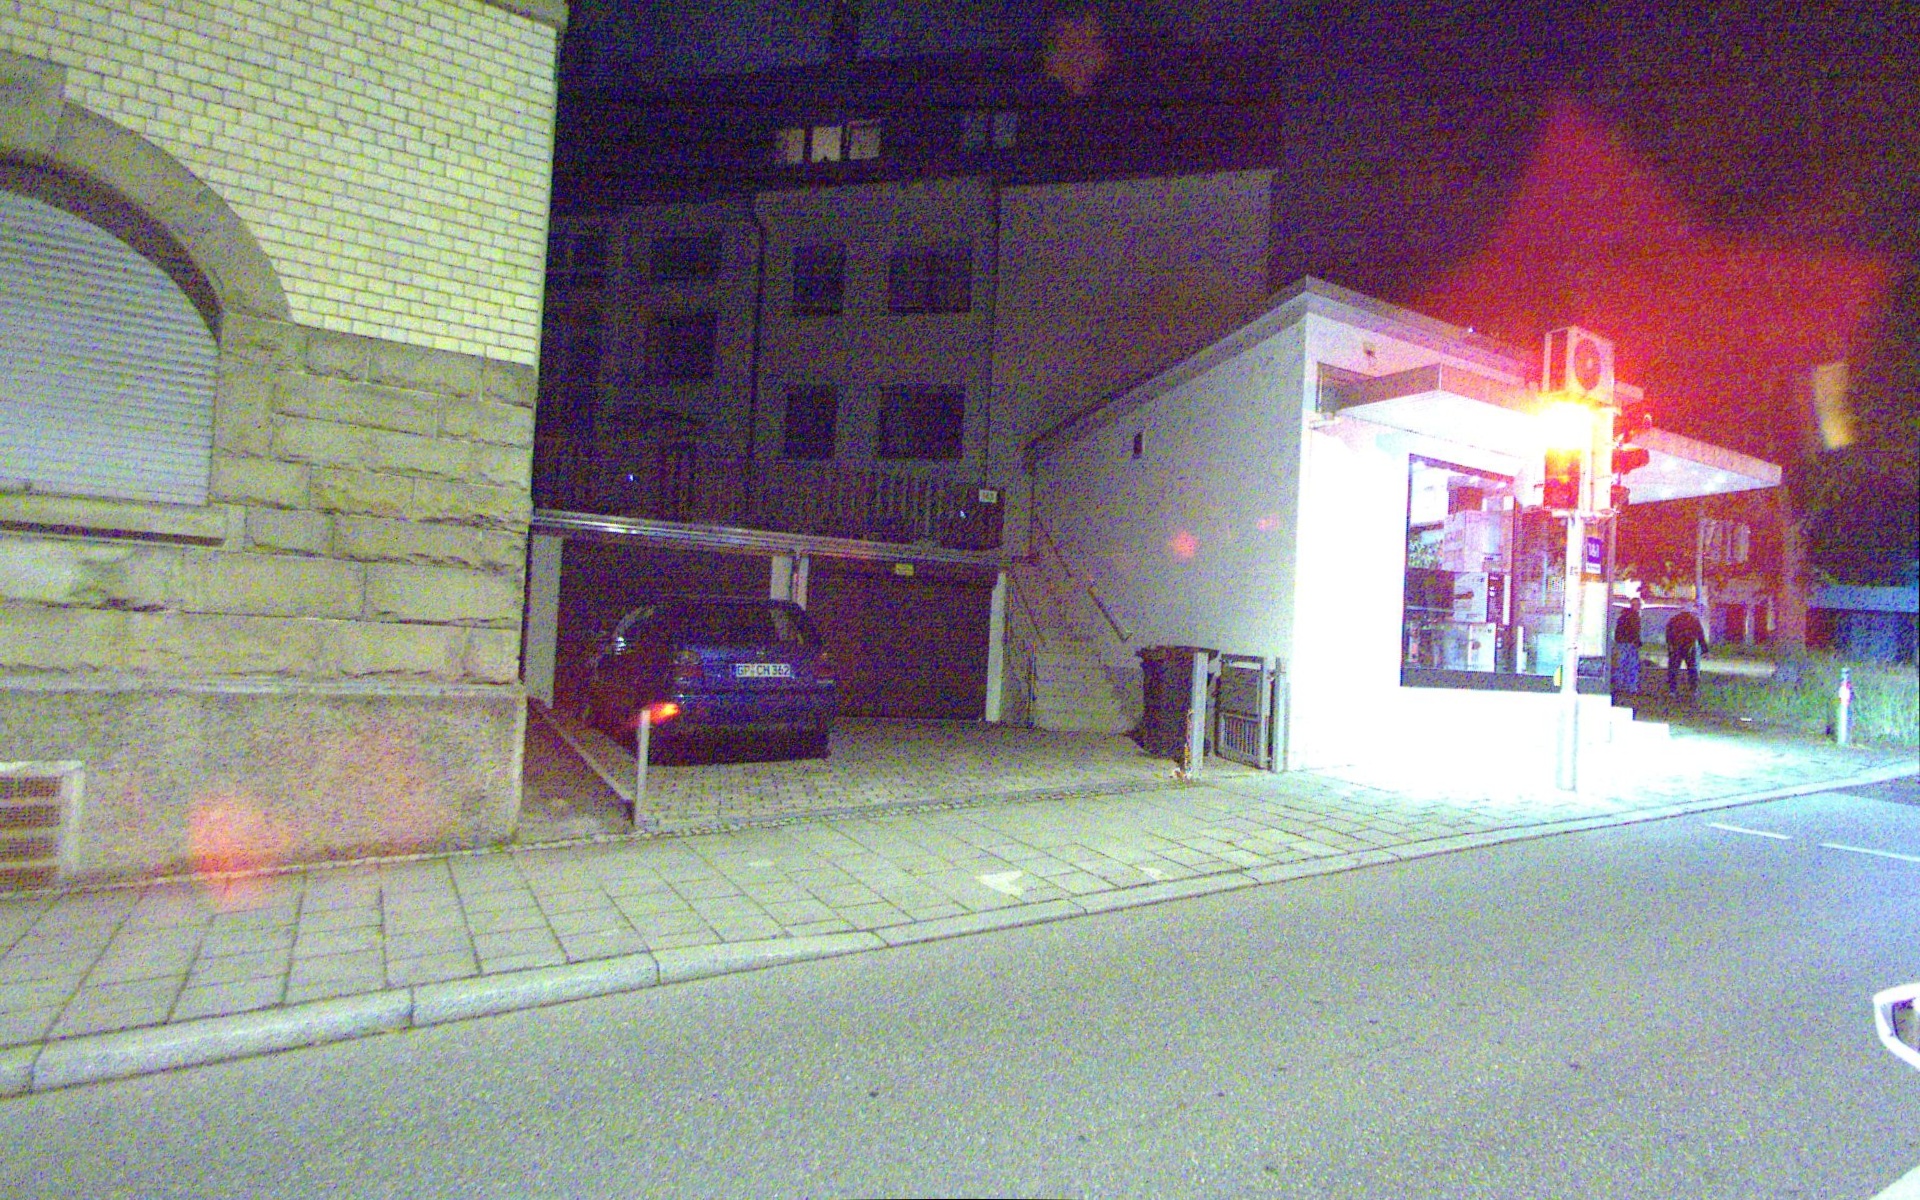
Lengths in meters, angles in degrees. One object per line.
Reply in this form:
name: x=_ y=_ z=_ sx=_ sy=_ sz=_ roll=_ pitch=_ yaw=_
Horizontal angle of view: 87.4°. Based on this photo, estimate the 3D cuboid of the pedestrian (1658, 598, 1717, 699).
pedestrian: x=13.418 y=0.885 z=18.531 sx=0.729 sy=1.801 sz=0.567 roll=2 pitch=2 yaw=-30

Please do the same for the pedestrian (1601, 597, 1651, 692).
pedestrian: x=12.627 y=0.832 z=19.041 sx=0.537 sy=1.754 sz=0.567 roll=2 pitch=0 yaw=-30

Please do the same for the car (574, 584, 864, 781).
car: x=-2.462 y=0.624 z=9.584 sx=1.700 sy=1.460 sz=3.631 roll=2 pitch=0 yaw=-30
